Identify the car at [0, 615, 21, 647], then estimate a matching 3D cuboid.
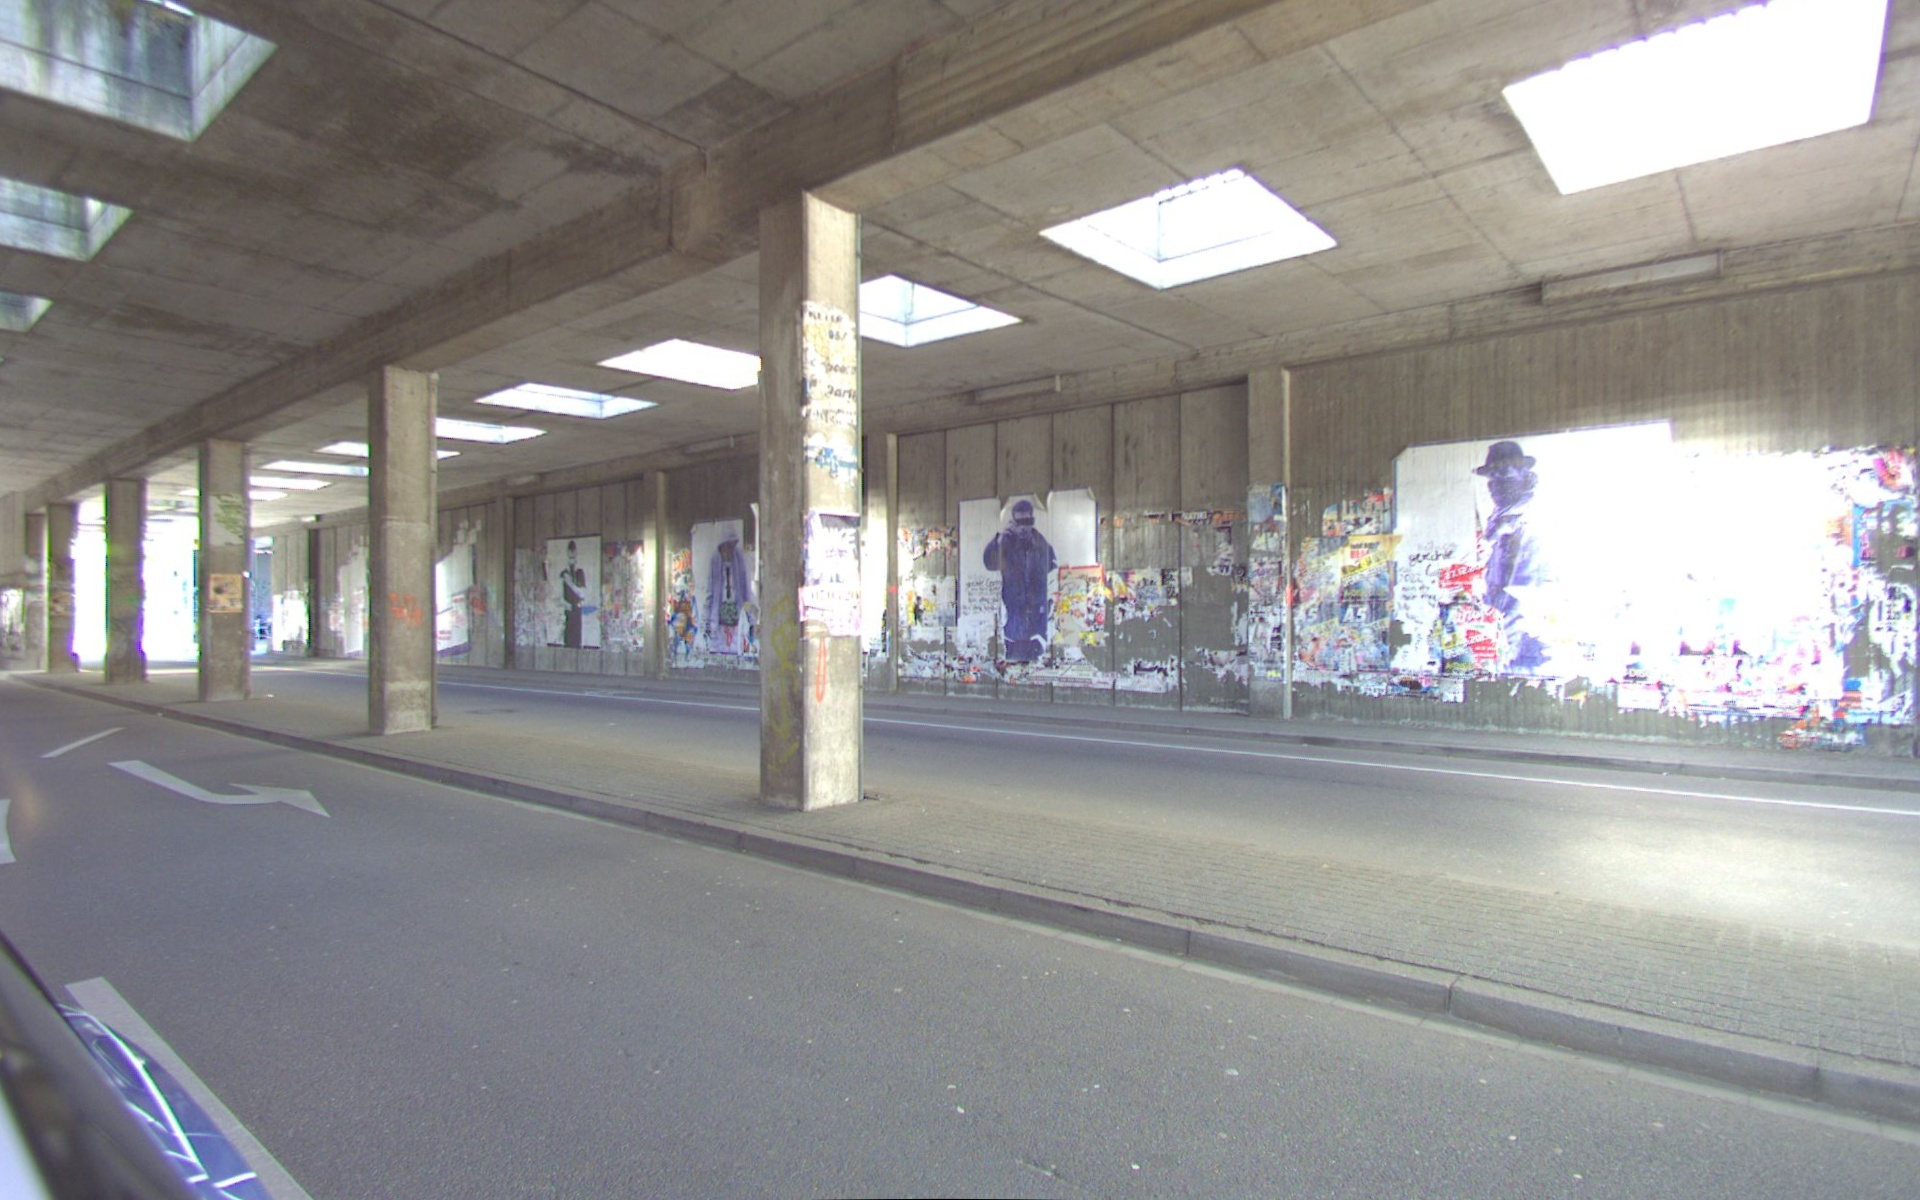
[{"bbox_3d":[-55.885,1.784,57.297,3.941,1.763,2.002,-1,0,-44],"label":"car"}]
